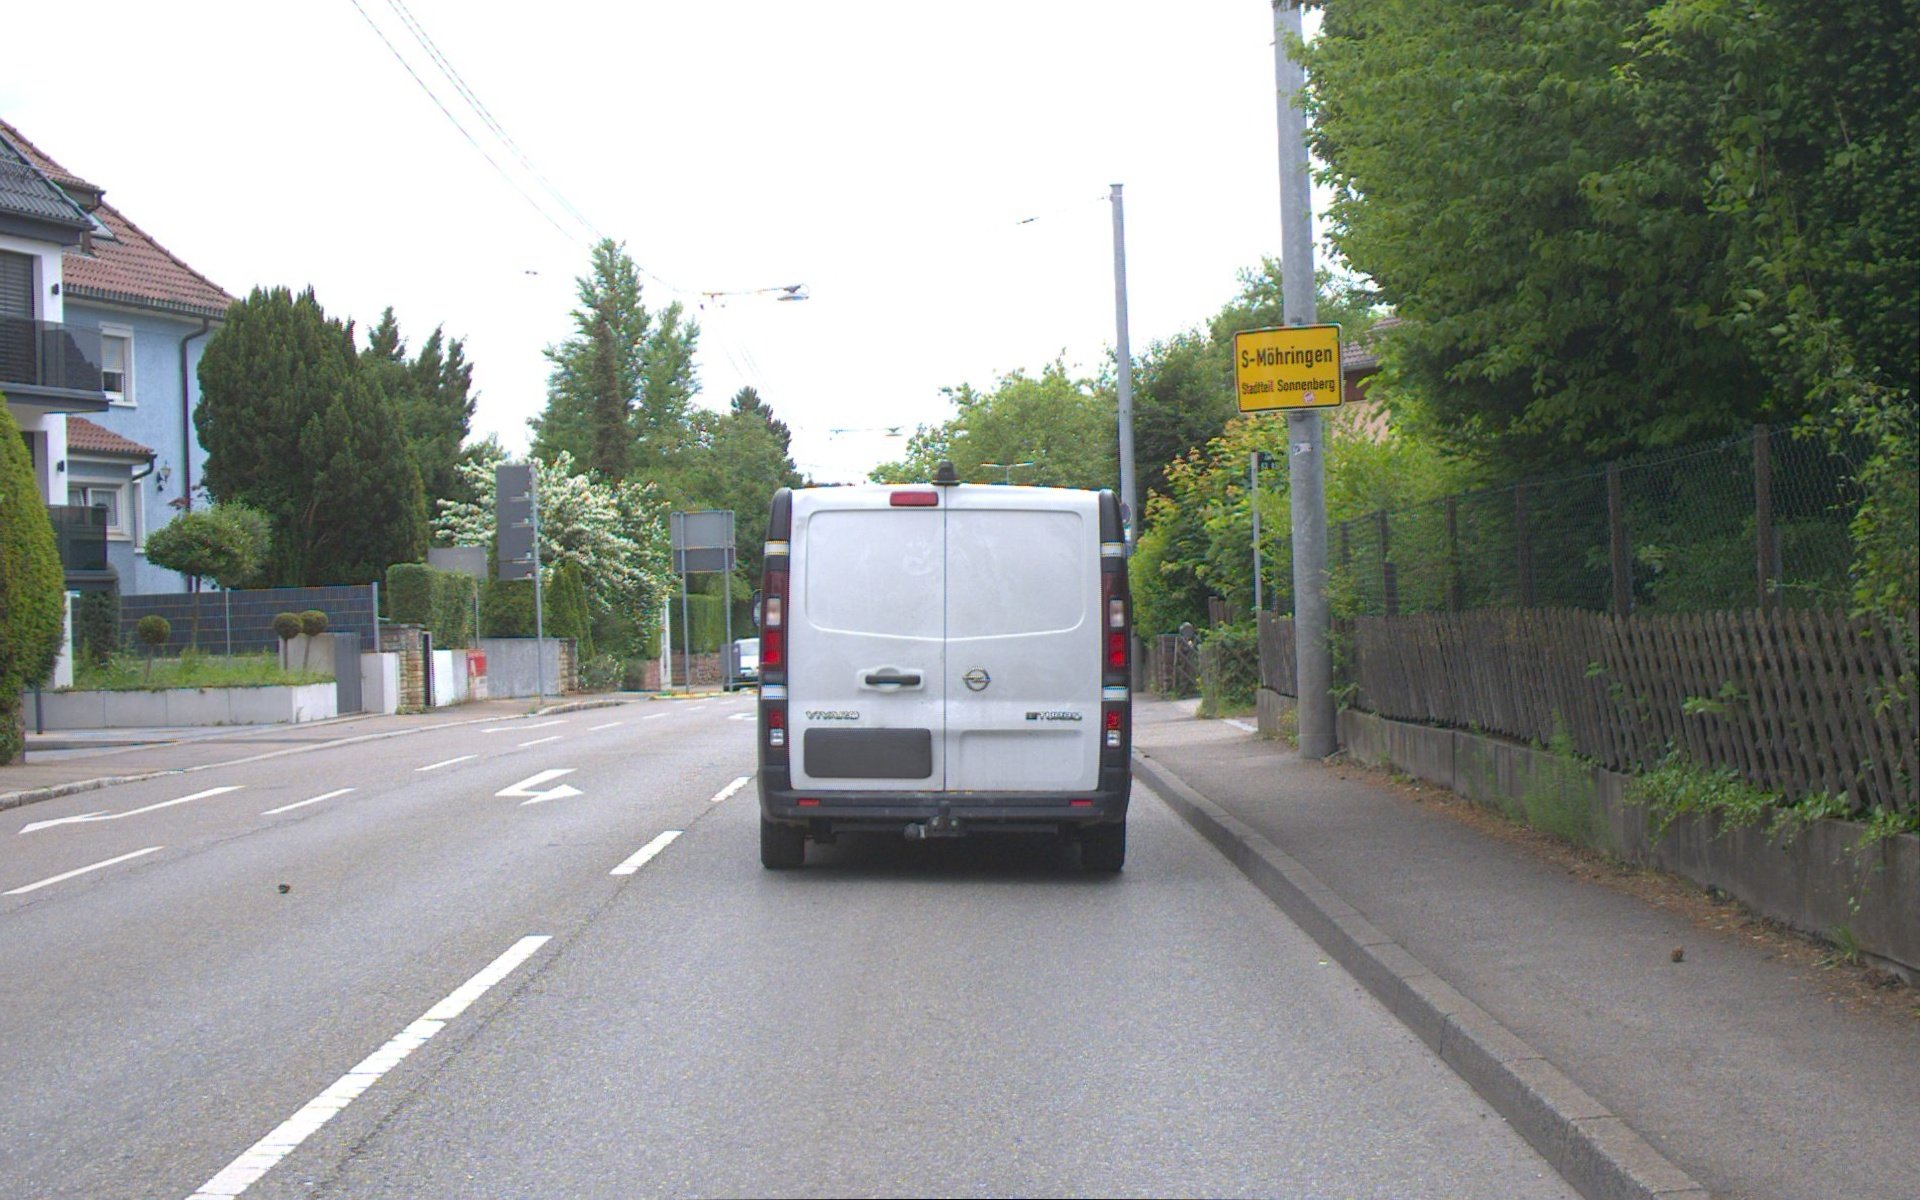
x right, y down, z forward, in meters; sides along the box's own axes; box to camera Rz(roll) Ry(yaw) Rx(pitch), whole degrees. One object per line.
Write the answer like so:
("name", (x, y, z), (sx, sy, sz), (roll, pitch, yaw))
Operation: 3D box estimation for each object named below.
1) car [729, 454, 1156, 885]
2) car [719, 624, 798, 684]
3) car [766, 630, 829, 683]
("car", (-0.080, 0.309, 18.847), (2.006, 2.031, 5.010), (1, 0, 0))
("car", (-5.419, 1.447, 92.805), (1.809, 1.450, 4.413), (-4, 0, 0))
("car", (-5.072, 1.764, 107.718), (1.678, 1.551, 3.971), (-3, -1, 1))
